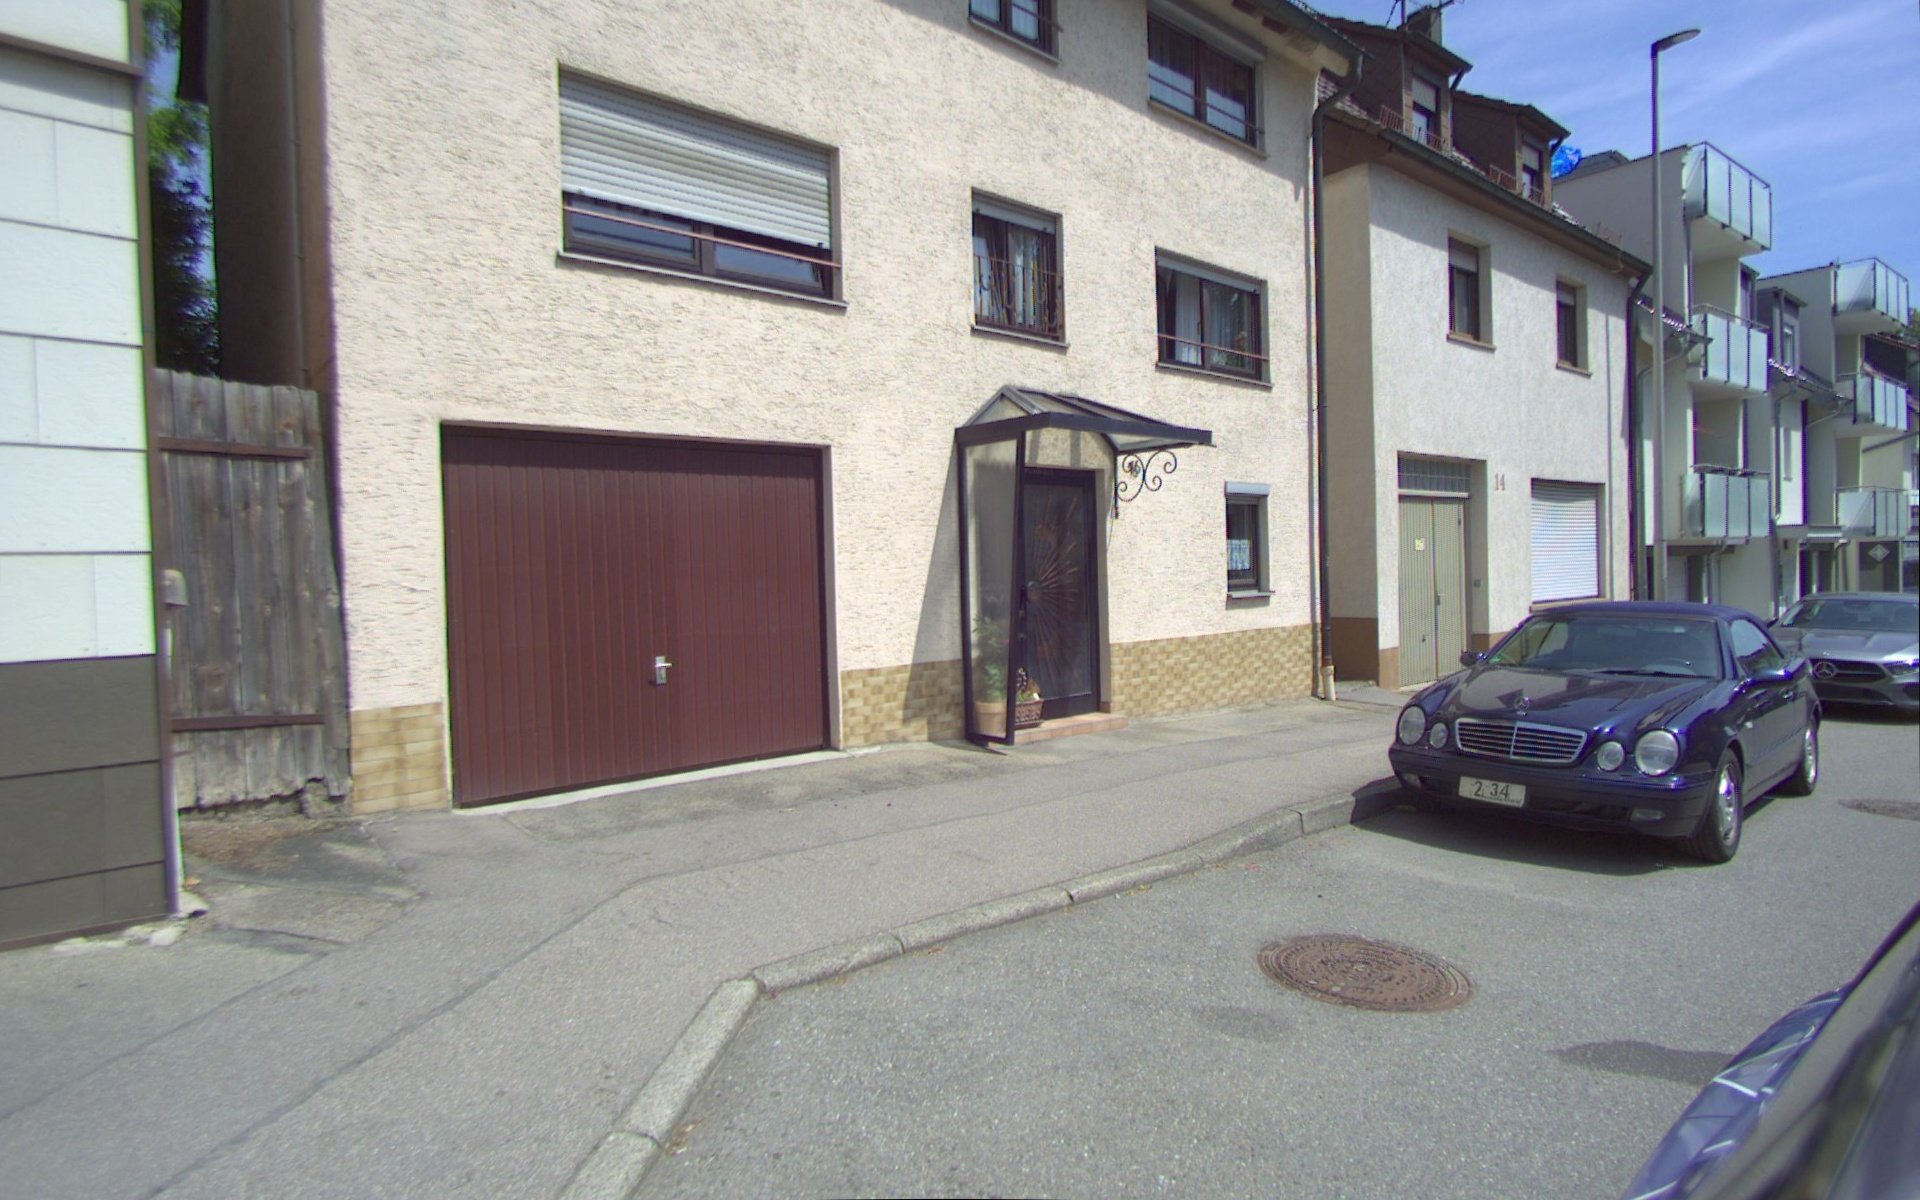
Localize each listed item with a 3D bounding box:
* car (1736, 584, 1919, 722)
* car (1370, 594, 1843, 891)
[{"bbox_3d":[11.384,0.535,12.602,4.333,1.420,1.798,-1,2,-40],"label":"car"},{"bbox_3d":[4.500,0.655,6.766,4.116,1.369,1.668,-1,1,-42],"label":"car"}]
